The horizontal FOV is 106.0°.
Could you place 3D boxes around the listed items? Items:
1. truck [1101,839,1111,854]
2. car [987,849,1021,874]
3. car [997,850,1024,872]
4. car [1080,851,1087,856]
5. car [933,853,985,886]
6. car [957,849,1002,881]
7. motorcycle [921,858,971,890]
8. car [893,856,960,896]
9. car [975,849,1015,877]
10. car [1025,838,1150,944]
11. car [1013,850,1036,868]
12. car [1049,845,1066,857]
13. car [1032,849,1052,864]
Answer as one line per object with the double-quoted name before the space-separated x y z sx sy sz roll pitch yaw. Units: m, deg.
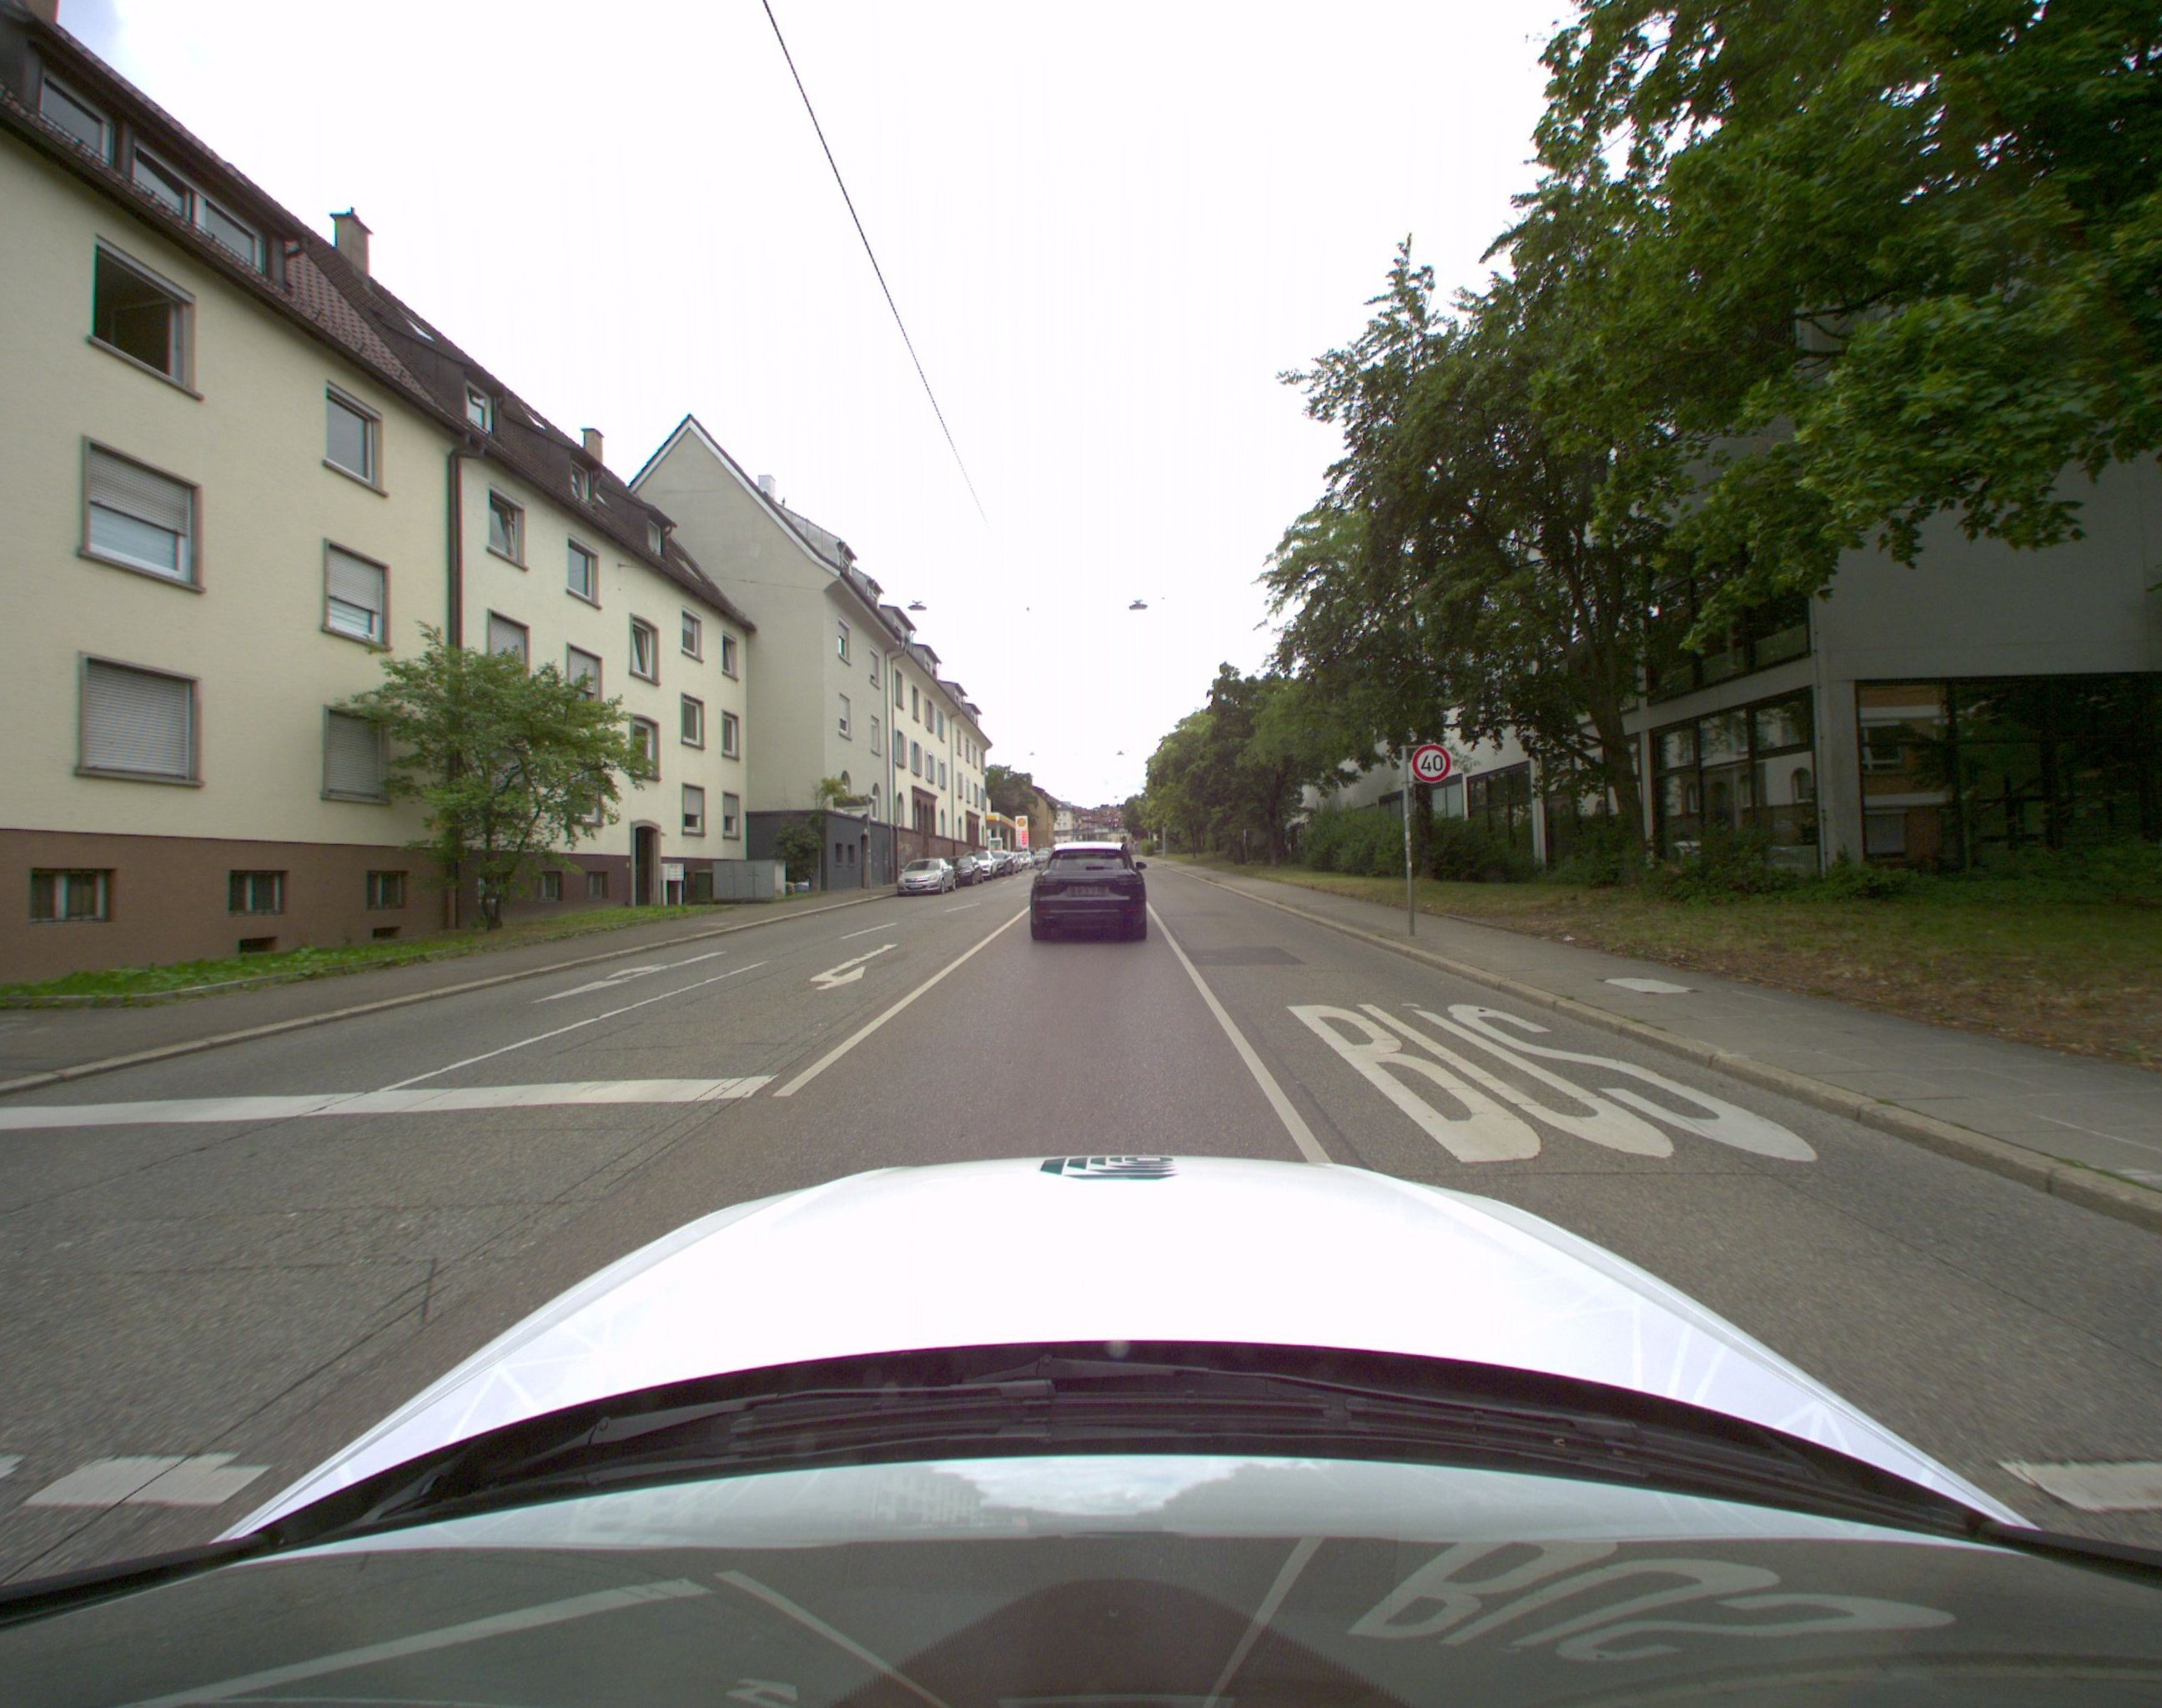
"truck" 5.870 -1.672 191.285 2.258 3.424 9.882 -1 0 2
"car" -5.289 0.483 56.420 1.721 1.558 4.082 -4 0 1
"car" -5.271 0.503 61.356 1.542 1.475 3.605 -2 0 2
"car" 0.830 -0.252 244.910 1.758 1.508 4.003 -1 0 3
"car" -5.829 0.720 39.480 1.720 1.429 4.193 -2 1 2
"car" -5.679 0.571 45.952 1.839 1.621 4.644 -2 1 1
"motorcycle" -5.980 0.882 35.991 2.045 1.235 0.803 -4 1 -16
"car" -6.058 0.829 32.356 1.721 1.374 4.338 -2 1 1
"car" -5.334 0.519 51.037 1.719 1.599 4.507 -2 1 4
"car" 0.186 0.562 15.042 1.986 1.662 4.003 -1 1 2
"car" -4.869 0.438 70.477 1.613 1.425 3.667 -2 1 2
"car" -3.321 -0.439 115.213 1.908 1.577 4.703 -2 0 3
"car" -4.229 0.265 88.776 1.784 1.449 4.220 -2 0 2
